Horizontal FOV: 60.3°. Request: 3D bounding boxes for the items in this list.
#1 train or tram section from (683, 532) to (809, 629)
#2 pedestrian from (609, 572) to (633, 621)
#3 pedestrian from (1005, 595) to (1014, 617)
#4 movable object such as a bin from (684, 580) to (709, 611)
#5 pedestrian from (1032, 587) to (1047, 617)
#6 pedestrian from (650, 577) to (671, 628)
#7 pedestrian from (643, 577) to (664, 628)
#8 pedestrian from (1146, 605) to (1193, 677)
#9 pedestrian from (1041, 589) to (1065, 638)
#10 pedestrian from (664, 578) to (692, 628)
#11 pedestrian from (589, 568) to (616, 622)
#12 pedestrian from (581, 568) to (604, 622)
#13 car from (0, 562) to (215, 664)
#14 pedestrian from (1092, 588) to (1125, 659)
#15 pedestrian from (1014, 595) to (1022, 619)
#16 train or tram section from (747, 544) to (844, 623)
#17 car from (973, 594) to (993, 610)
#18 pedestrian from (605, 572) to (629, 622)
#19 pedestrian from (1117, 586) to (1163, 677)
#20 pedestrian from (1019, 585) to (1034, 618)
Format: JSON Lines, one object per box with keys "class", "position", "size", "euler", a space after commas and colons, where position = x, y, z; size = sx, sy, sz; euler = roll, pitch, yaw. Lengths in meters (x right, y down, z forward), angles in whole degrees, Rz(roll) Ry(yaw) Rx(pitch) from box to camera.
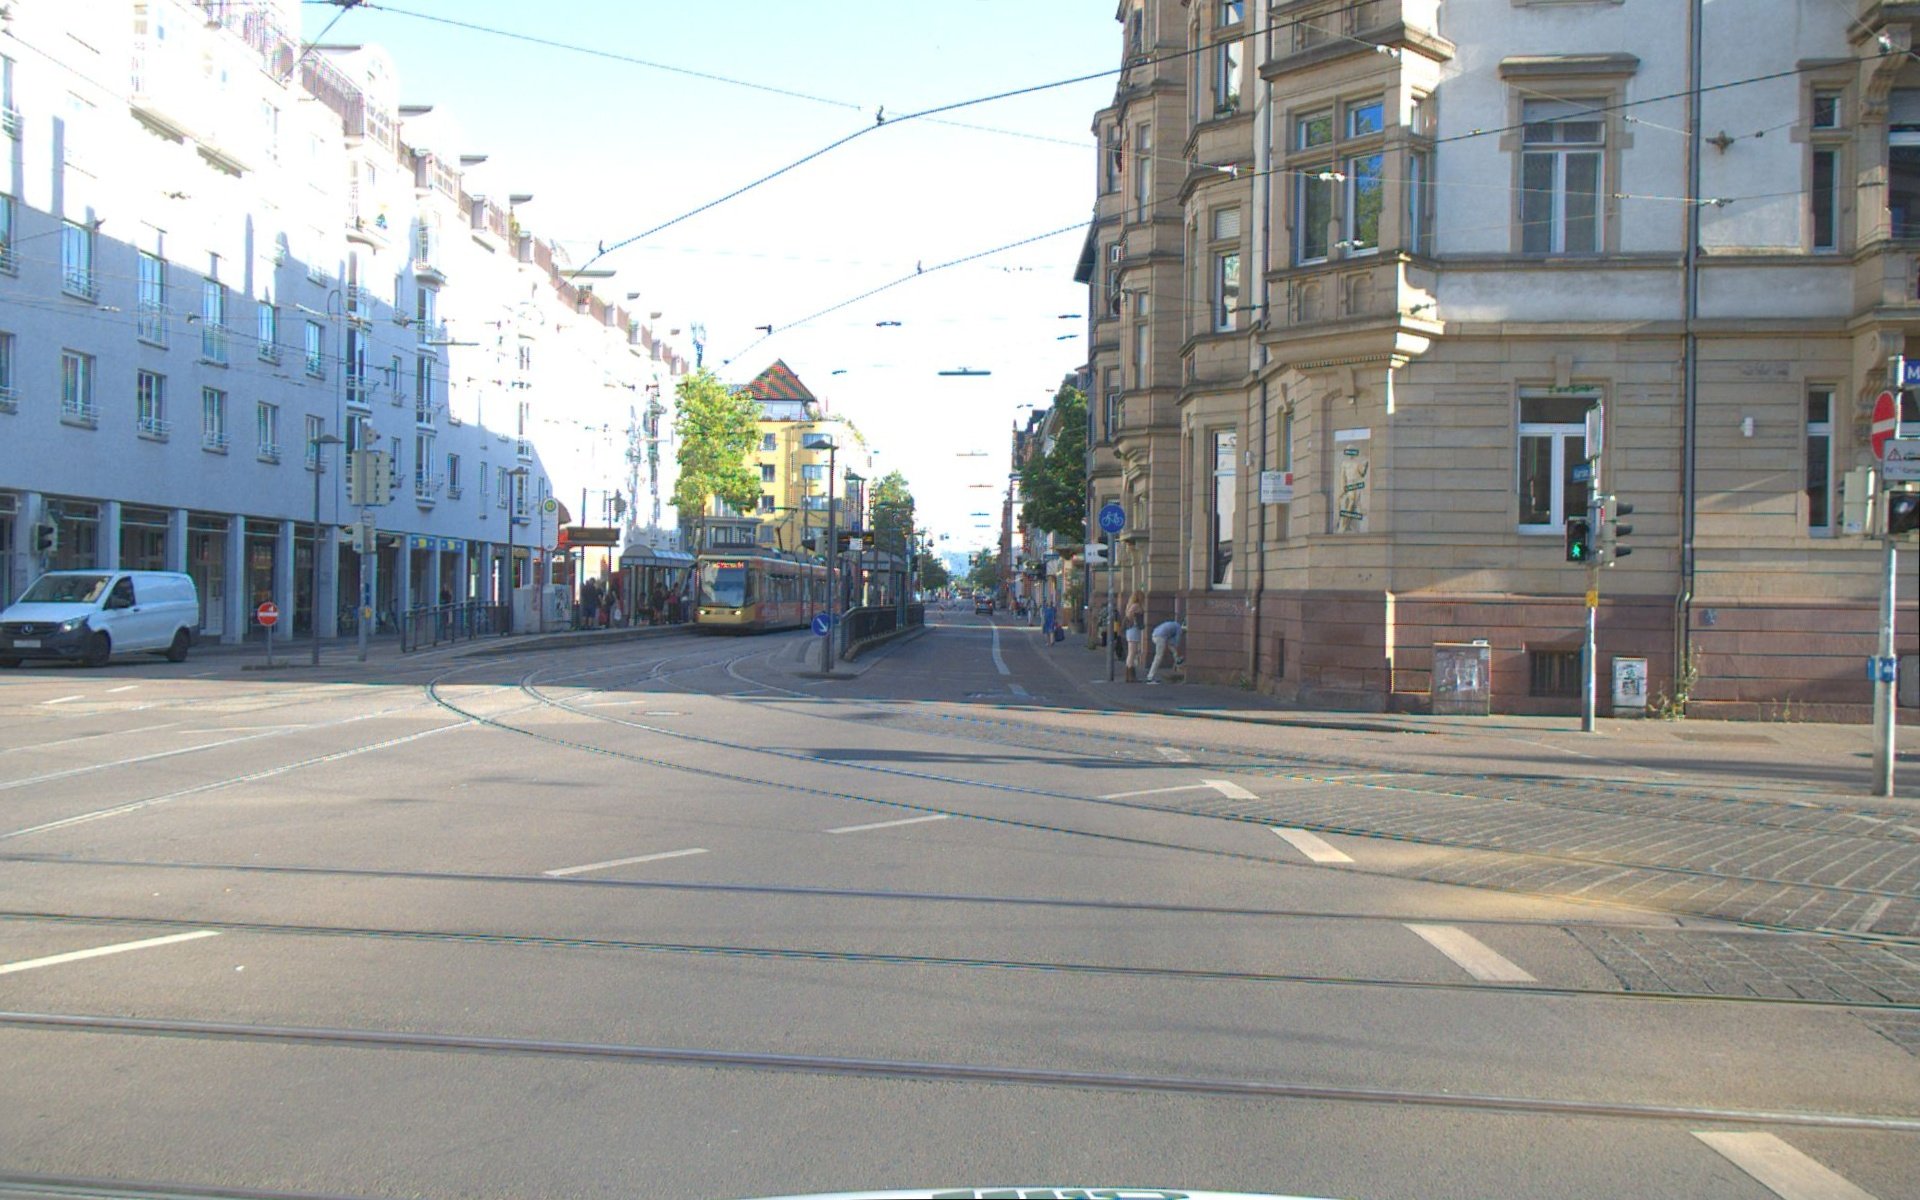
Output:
{"class": "train or tram section", "position": [-8.585, -0.887, 68.446], "size": [2.825, 3.551, 14.173], "euler": [-1, 1, 2]}
{"class": "pedestrian", "position": [-12.128, -0.120, 59.203], "size": [0.686, 1.721, 0.667], "euler": [1, 0, -23]}
{"class": "pedestrian", "position": [4.418, 0.509, 147.483], "size": [0.826, 1.951, 0.661], "euler": [1, 0, -1]}
{"class": "movable object such as a bin", "position": [-11.396, -0.203, 71.604], "size": [0.918, 1.309, 0.934], "euler": [1, 0, -2]}
{"class": "pedestrian", "position": [4.448, 0.081, 92.527], "size": [0.699, 1.630, 0.773], "euler": [-2, 1, -3]}
{"class": "pedestrian", "position": [-11.545, 0.091, 63.735], "size": [0.681, 1.938, 0.672], "euler": [1, 0, -2]}
{"class": "pedestrian", "position": [-11.712, 0.085, 63.176], "size": [0.681, 1.938, 0.672], "euler": [1, 0, -2]}
{"class": "pedestrian", "position": [4.004, 0.774, 31.592], "size": [0.778, 1.355, 0.719], "euler": [-1, -1, -1]}
{"class": "pedestrian", "position": [3.215, 0.462, 57.288], "size": [0.747, 1.674, 0.832], "euler": [-1, 1, 0]}
{"class": "pedestrian", "position": [-11.137, 0.106, 65.339], "size": [0.913, 1.938, 0.880], "euler": [1, 0, -2]}
{"class": "pedestrian", "position": [-11.932, -0.170, 55.245], "size": [0.752, 1.763, 0.517], "euler": [1, 0, 42]}
{"class": "pedestrian", "position": [-11.817, -0.161, 53.185], "size": [0.586, 1.721, 0.613], "euler": [1, 0, 1]}
{"class": "car", "position": [-17.165, 0.208, 33.250], "size": [1.953, 1.869, 5.347], "euler": [1, 1, 0]}
{"class": "pedestrian", "position": [3.919, 0.611, 43.783], "size": [0.784, 1.855, 0.797], "euler": [-1, 1, 0]}
{"class": "pedestrian", "position": [4.527, 0.561, 128.717], "size": [0.548, 1.828, 0.651], "euler": [1, 0, 7]}
{"class": "train or tram section", "position": [-8.020, -0.938, 82.960], "size": [2.825, 3.551, 14.956], "euler": [-1, 1, 2]}
{"class": "car", "position": [2.343, 0.179, 169.581], "size": [1.952, 1.474, 4.000], "euler": [1, 1, 0]}
{"class": "pedestrian", "position": [-11.905, -0.105, 57.355], "size": [0.686, 1.721, 0.667], "euler": [1, 0, -23]}
{"class": "pedestrian", "position": [3.517, 0.608, 32.345], "size": [0.778, 1.751, 0.719], "euler": [-1, -1, -1]}
{"class": "pedestrian", "position": [3.716, 0.061, 92.173], "size": [0.699, 1.805, 0.773], "euler": [-2, 1, -3]}
